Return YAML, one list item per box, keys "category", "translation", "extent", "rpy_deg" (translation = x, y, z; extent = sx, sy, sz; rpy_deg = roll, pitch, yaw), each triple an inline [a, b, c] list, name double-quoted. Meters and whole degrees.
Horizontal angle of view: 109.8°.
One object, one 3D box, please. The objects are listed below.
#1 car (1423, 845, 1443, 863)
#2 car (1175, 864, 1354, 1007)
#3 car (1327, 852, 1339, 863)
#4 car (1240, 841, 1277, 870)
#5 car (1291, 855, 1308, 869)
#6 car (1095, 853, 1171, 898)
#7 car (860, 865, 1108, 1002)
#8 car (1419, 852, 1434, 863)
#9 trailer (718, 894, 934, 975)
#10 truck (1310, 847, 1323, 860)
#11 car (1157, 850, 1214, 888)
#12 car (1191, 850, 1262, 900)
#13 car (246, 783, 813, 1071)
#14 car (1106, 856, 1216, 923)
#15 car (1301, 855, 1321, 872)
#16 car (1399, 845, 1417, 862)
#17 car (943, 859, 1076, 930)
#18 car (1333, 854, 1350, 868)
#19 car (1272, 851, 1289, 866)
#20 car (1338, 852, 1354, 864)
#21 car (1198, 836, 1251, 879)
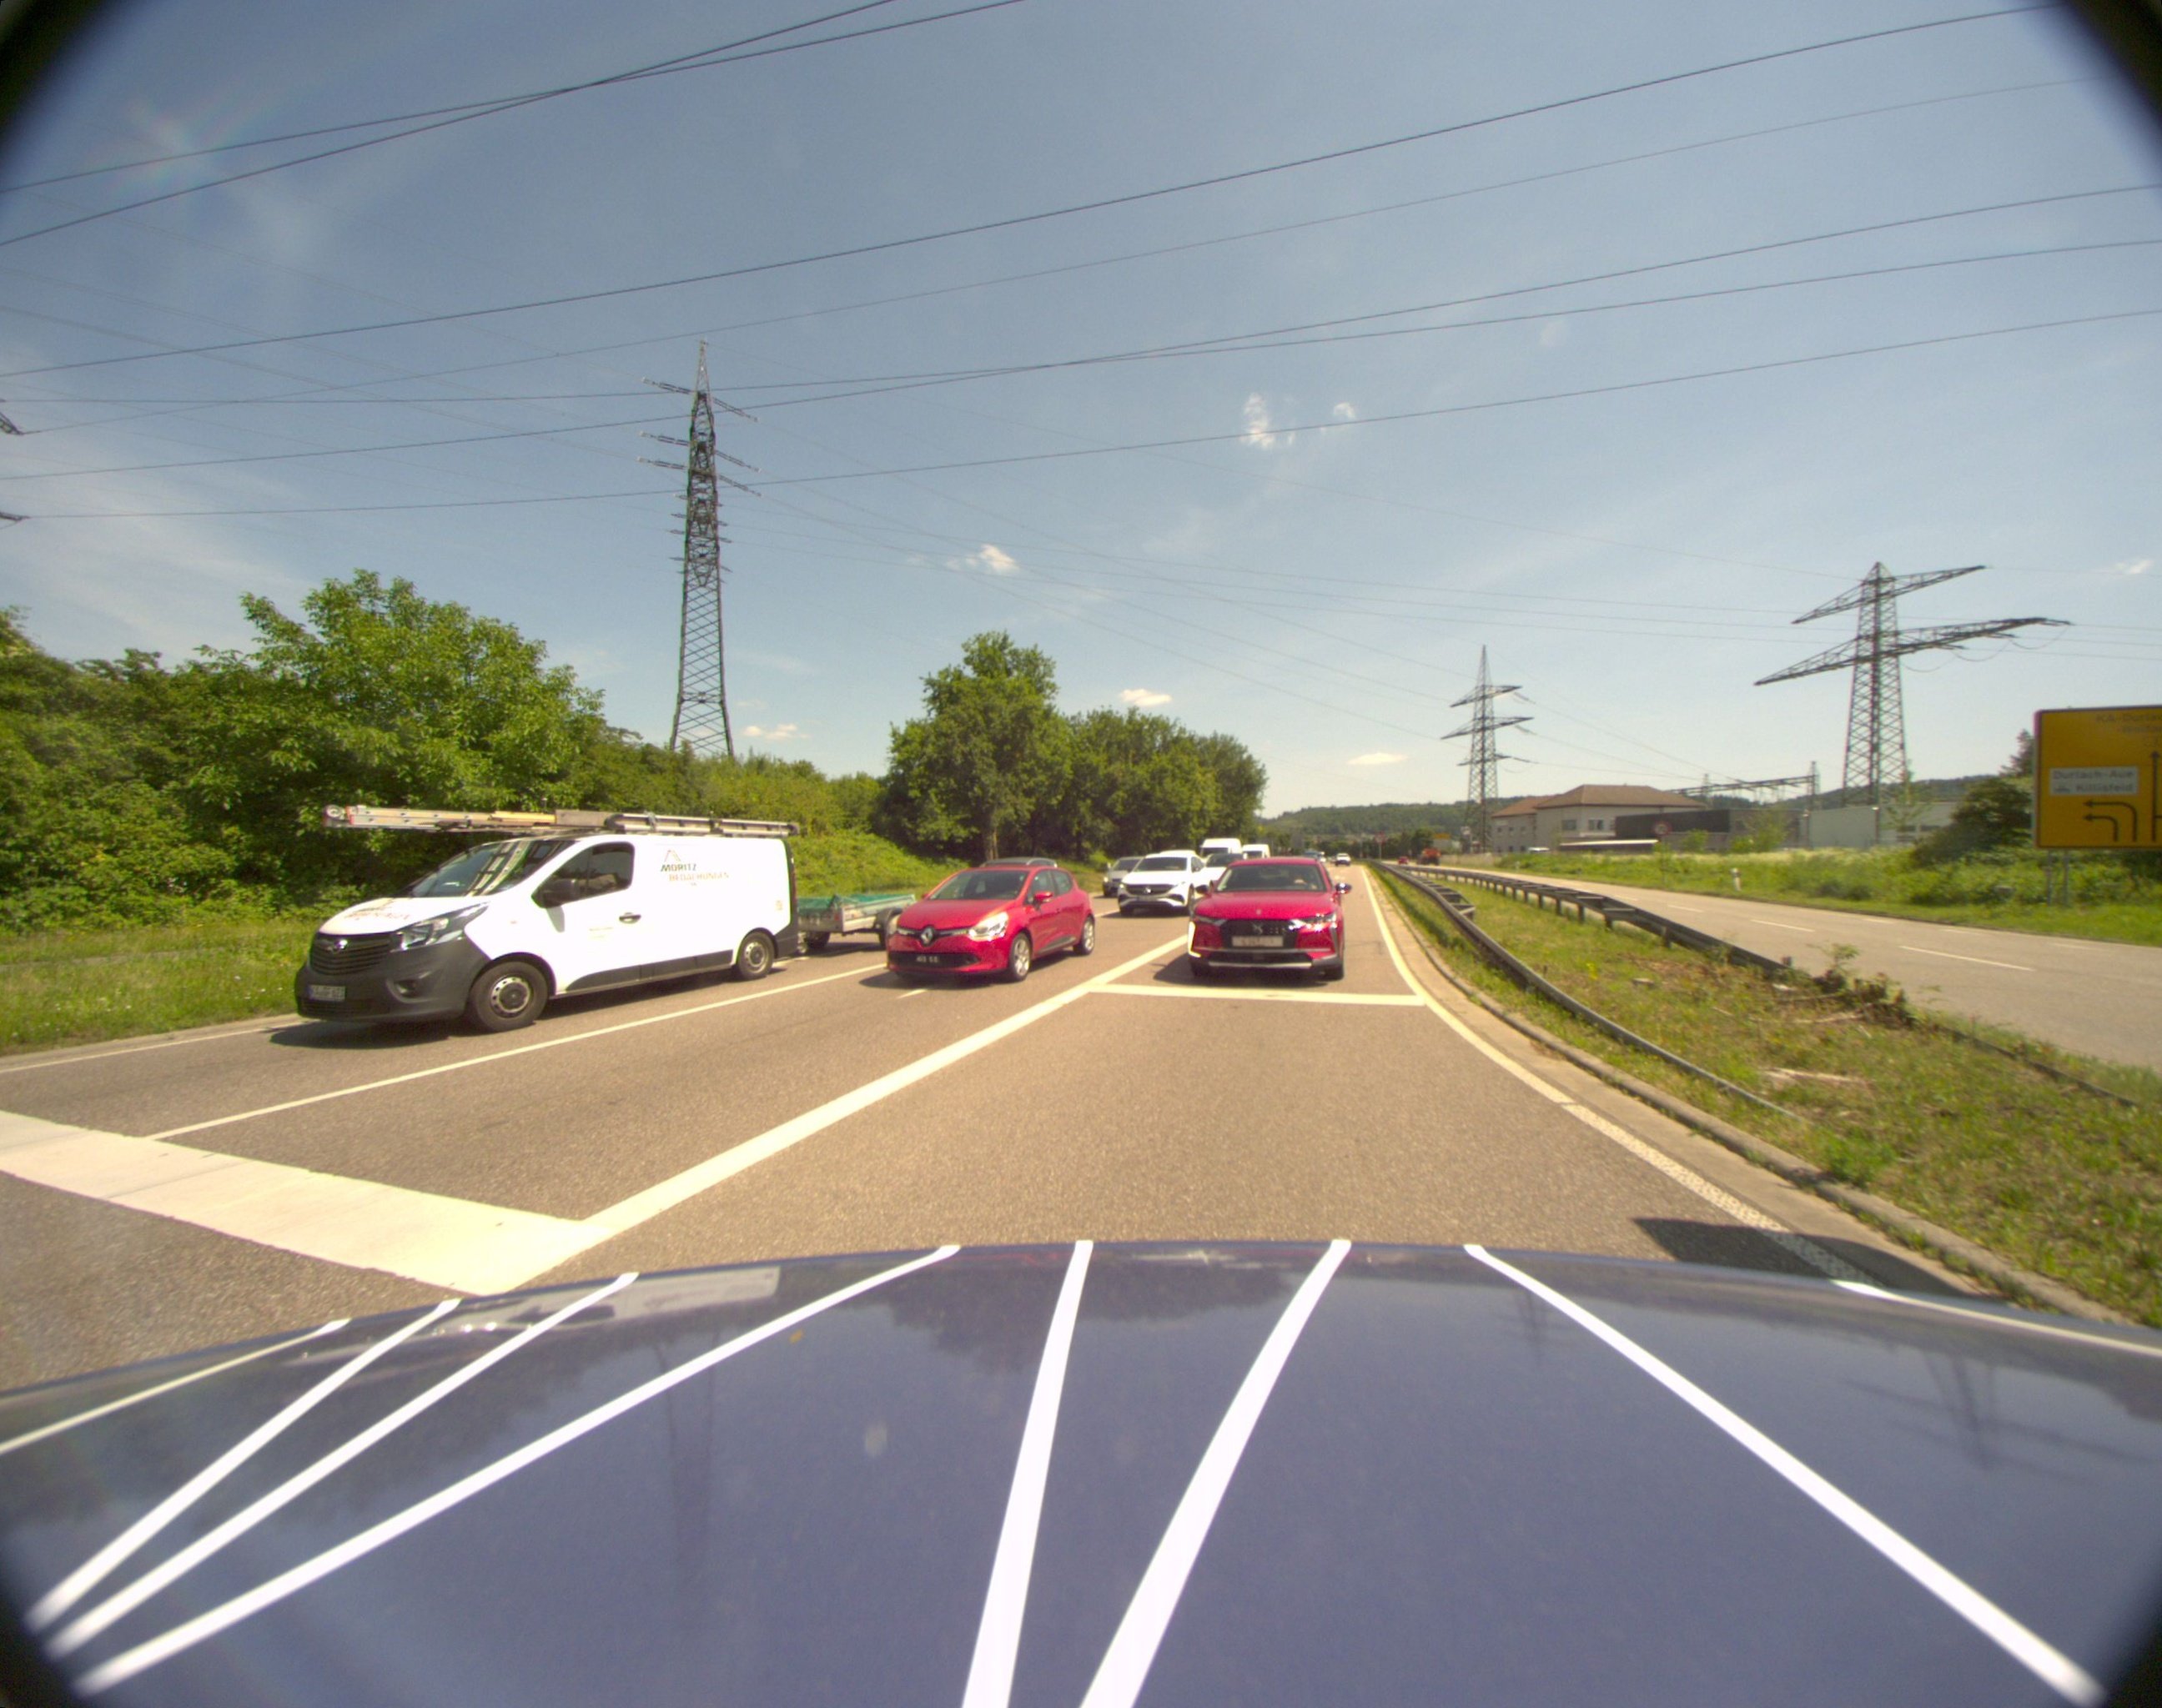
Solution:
- category: "car"
  translation: [62.191, -0.034, 134.366]
  extent: [2.603, 3.043, 5.647]
  rpy_deg: [1, 1, 19]
- category: "car"
  translation: [2.733, 0.917, 10.451]
  extent: [1.844, 1.453, 4.420]
  rpy_deg: [-1, 0, 20]
- category: "car"
  translation: [50.265, 0.692, 151.530]
  extent: [1.995, 2.002, 4.006]
  rpy_deg: [-1, 1, 24]
- category: "car"
  translation: [15.443, 0.122, 65.805]
  extent: [2.305, 2.408, 5.823]
  rpy_deg: [-2, 0, 21]
- category: "car"
  translation: [31.475, 1.182, 109.610]
  extent: [1.995, 1.807, 4.005]
  rpy_deg: [-1, 1, 21]
- category: "car"
  translation: [2.117, 0.797, 29.503]
  extent: [1.744, 1.585, 4.278]
  rpy_deg: [-1, 0, 20]
- category: "car"
  translation: [-1.099, 0.932, 10.649]
  extent: [1.745, 1.453, 4.071]
  rpy_deg: [-1, 0, 20]
- category: "car"
  translation: [65.221, 0.633, 143.548]
  extent: [1.996, 1.904, 4.004]
  rpy_deg: [-1, 1, 16]
- category: "trailer"
  translation: [-4.111, 1.256, 12.785]
  extent: [1.707, 1.000, 3.328]
  rpy_deg: [-1, 0, 20]
- category: "truck"
  translation: [44.513, -0.128, 143.728]
  extent: [2.167, 2.428, 4.917]
  rpy_deg: [-1, 1, 18]
- category: "car"
  translation: [5.398, 0.695, 38.578]
  extent: [1.806, 1.790, 5.045]
  rpy_deg: [-1, 0, 20]
- category: "car"
  translation: [5.502, 0.734, 28.325]
  extent: [2.019, 1.671, 4.005]
  rpy_deg: [-2, 0, 19]
- category: "car"
  translation: [-5.666, 0.604, 8.871]
  extent: [1.934, 2.335, 5.082]
  rpy_deg: [-1, 0, 20]
- category: "car"
  translation: [2.270, 0.862, 20.343]
  extent: [1.847, 1.559, 4.370]
  rpy_deg: [-1, 0, 20]
- category: "car"
  translation: [24.208, 0.990, 79.959]
  extent: [1.875, 1.674, 4.005]
  rpy_deg: [-1, 1, 18]
- category: "car"
  translation: [60.000, -0.152, 139.470]
  extent: [2.603, 3.043, 5.647]
  rpy_deg: [1, 1, 19]
- category: "car"
  translation: [-1.712, 0.947, 19.721]
  extent: [1.766, 1.586, 4.171]
  rpy_deg: [0, 0, 21]
- category: "car"
  translation: [38.666, 1.060, 112.758]
  extent: [1.995, 2.002, 4.007]
  rpy_deg: [1, 1, 24]
- category: "car"
  translation: [24.845, 0.550, 94.528]
  extent: [1.875, 1.674, 4.005]
  rpy_deg: [-1, 1, 18]
- category: "car"
  translation: [37.277, 0.543, 106.901]
  extent: [1.995, 1.752, 4.006]
  rpy_deg: [1, 1, 22]
- category: "car"
  translation: [9.529, 0.232, 49.962]
  extent: [2.229, 2.591, 7.029]
  rpy_deg: [-1, 0, 20]
